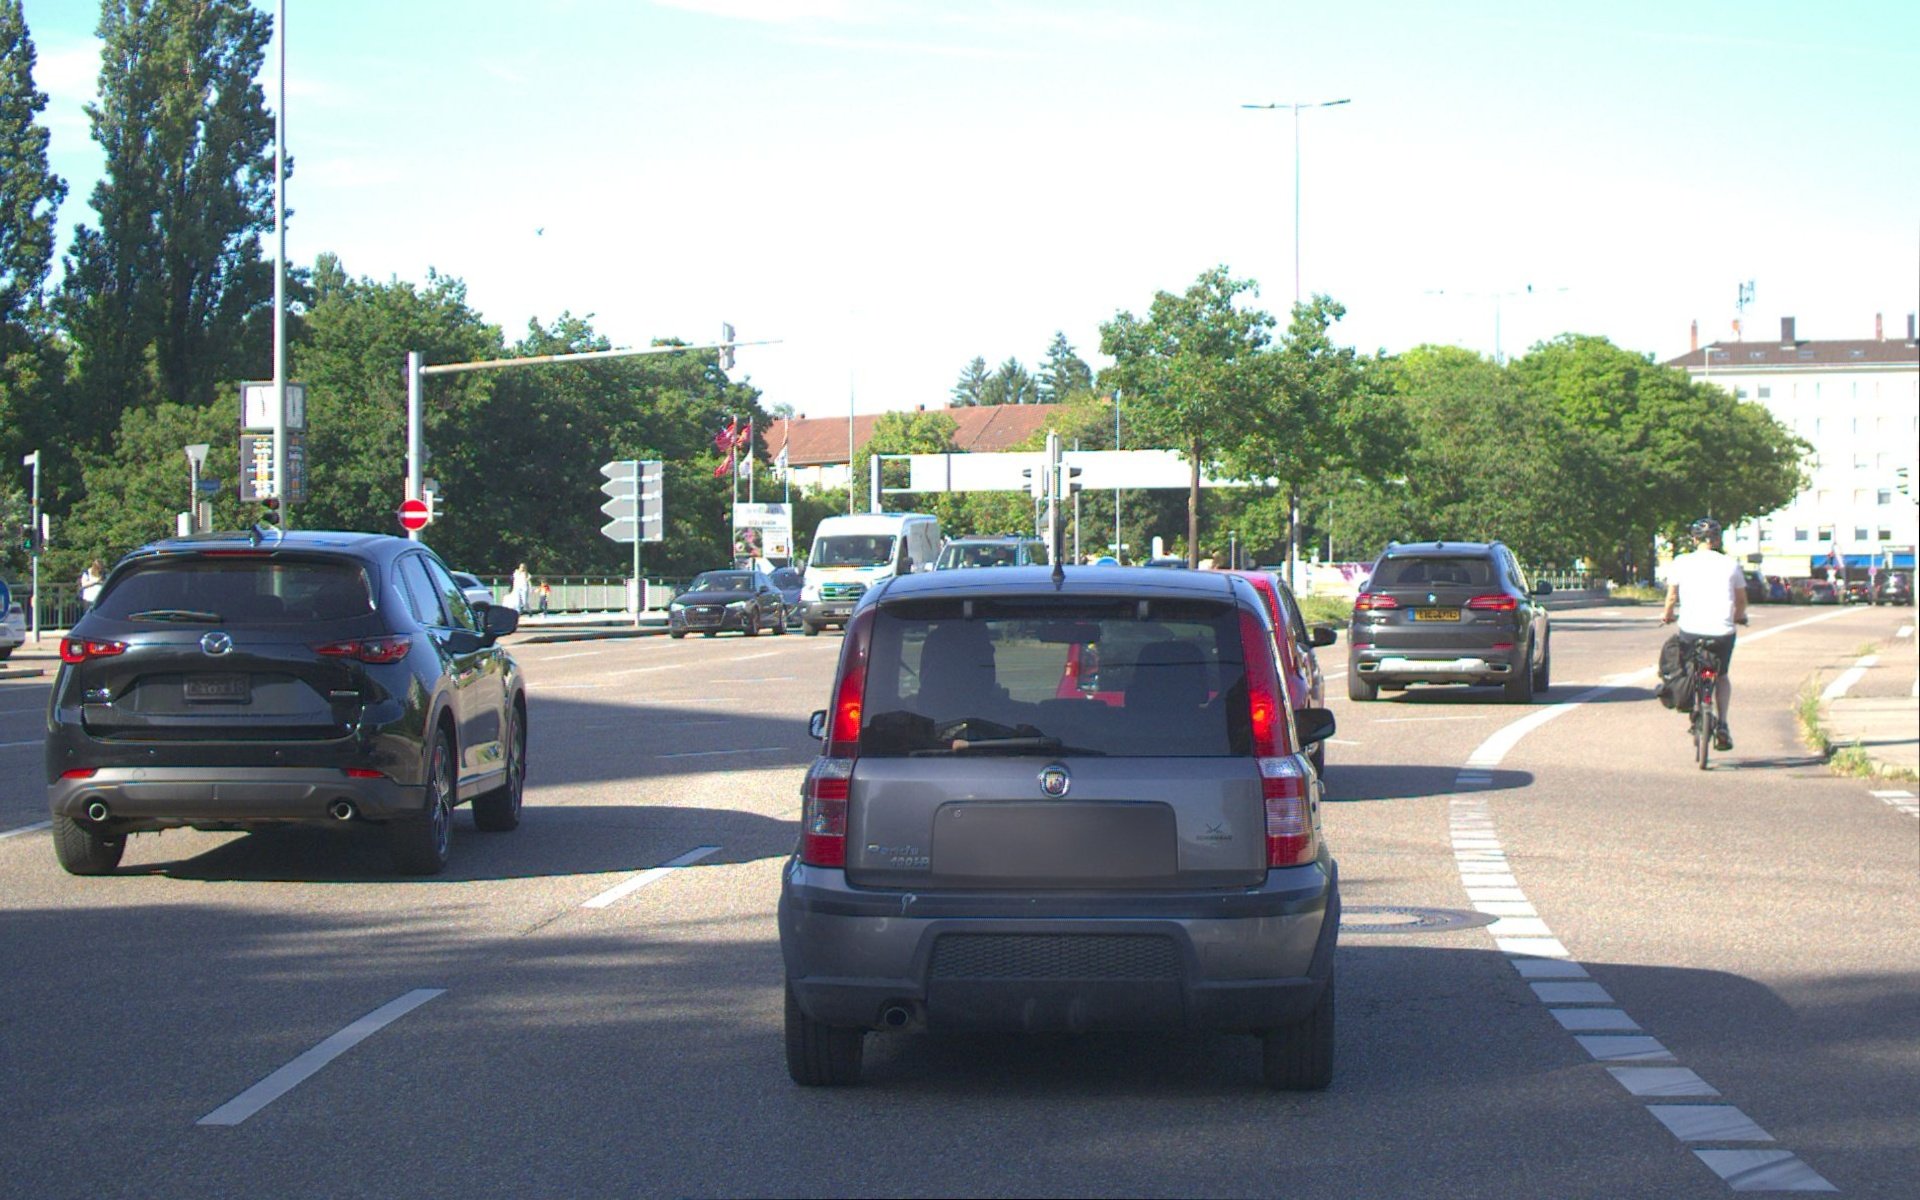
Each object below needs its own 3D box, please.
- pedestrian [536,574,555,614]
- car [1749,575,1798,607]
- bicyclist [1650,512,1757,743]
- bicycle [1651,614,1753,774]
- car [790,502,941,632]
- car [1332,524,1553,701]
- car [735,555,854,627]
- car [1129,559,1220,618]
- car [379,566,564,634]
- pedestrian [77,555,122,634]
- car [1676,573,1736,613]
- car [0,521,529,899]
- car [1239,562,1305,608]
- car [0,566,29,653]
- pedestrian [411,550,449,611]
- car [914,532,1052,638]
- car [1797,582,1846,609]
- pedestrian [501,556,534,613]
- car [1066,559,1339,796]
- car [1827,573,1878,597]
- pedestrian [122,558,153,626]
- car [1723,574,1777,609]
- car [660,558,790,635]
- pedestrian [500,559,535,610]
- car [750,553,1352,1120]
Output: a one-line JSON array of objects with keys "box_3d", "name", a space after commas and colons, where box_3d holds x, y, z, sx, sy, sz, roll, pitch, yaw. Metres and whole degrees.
[{"box_3d": [-12.151, -0.173, 100.746, 0.423, 1.132, 0.397, 1, -1, 15], "name": "pedestrian"}, {"box_3d": [39.874, -0.466, 168.454, 1.947, 1.523, 4.093, 0, 1, 19], "name": "car"}, {"box_3d": [5.494, 0.194, 25.397, 0.724, 1.654, 1.112, 1, 1, 13], "name": "bicyclist"}, {"box_3d": [5.484, 0.675, 25.376, 0.691, 1.098, 1.825, 1, 1, 13], "name": "bicycle"}, {"box_3d": [-1.887, -0.682, 71.019, 1.937, 2.567, 6.086, 0, 1, 10], "name": "car"}, {"box_3d": [5.441, 0.120, 38.330, 1.946, 1.834, 4.150, 1, 0, 15], "name": "car"}, {"box_3d": [-3.744, -0.222, 78.562, 1.811, 1.536, 4.615, -1, 1, 9], "name": "car"}, {"box_3d": [5.996, -0.340, 95.679, 1.937, 1.617, 4.503, 0, 1, 11], "name": "car"}, {"box_3d": [-11.633, -0.024, 82.131, 1.783, 1.530, 4.319, 2, 2, 39], "name": "car"}, {"box_3d": [-16.924, -0.110, 67.609, 0.709, 1.542, 0.729, -1, 0, -26], "name": "pedestrian"}, {"box_3d": [29.666, -0.289, 136.646, 1.947, 1.523, 4.094, 0, 1, 18], "name": "car"}, {"box_3d": [-3.411, 0.478, 17.613, 1.874, 1.703, 4.197, 0, 0, 0], "name": "car"}, {"box_3d": [11.283, -0.565, 124.101, 1.937, 1.617, 4.503, 0, 1, 11], "name": "car"}, {"box_3d": [-17.505, 0.138, 57.333, 4.315, 1.410, 1.782, 1, 1, 43], "name": "car"}, {"box_3d": [-14.752, -0.536, 95.647, 0.790, 1.658, 0.629, 1, -1, 22], "name": "pedestrian"}, {"box_3d": [0.498, -0.312, 67.837, 1.937, 2.001, 4.929, 0, 1, 10], "name": "car"}, {"box_3d": [50.561, -0.287, 201.718, 1.948, 1.523, 4.091, 0, 1, 27], "name": "car"}, {"box_3d": [-12.973, -0.462, 100.883, 0.720, 1.636, 0.672, 1, -1, 15], "name": "pedestrian"}, {"box_3d": [1.717, 0.464, 23.355, 1.618, 1.458, 3.750, 1, 1, 7], "name": "car"}, {"box_3d": [55.798, -0.941, 214.923, 1.949, 1.523, 4.090, 0, 1, 32], "name": "car"}, {"box_3d": [-18.778, -0.178, 78.522, 0.556, 1.542, 0.576, -1, -1, -26], "name": "pedestrian"}, {"box_3d": [34.729, -0.389, 150.994, 1.947, 1.523, 4.094, 0, 1, 18], "name": "car"}, {"box_3d": [-4.863, -0.099, 71.592, 1.937, 1.502, 3.999, -1, 1, 7], "name": "car"}, {"box_3d": [-13.370, -0.463, 103.919, 0.671, 1.498, 0.778, 1, -1, 30], "name": "pedestrian"}, {"box_3d": [0.376, 0.618, 11.244, 1.617, 1.510, 3.819, 1, 1, 4], "name": "car"}]
